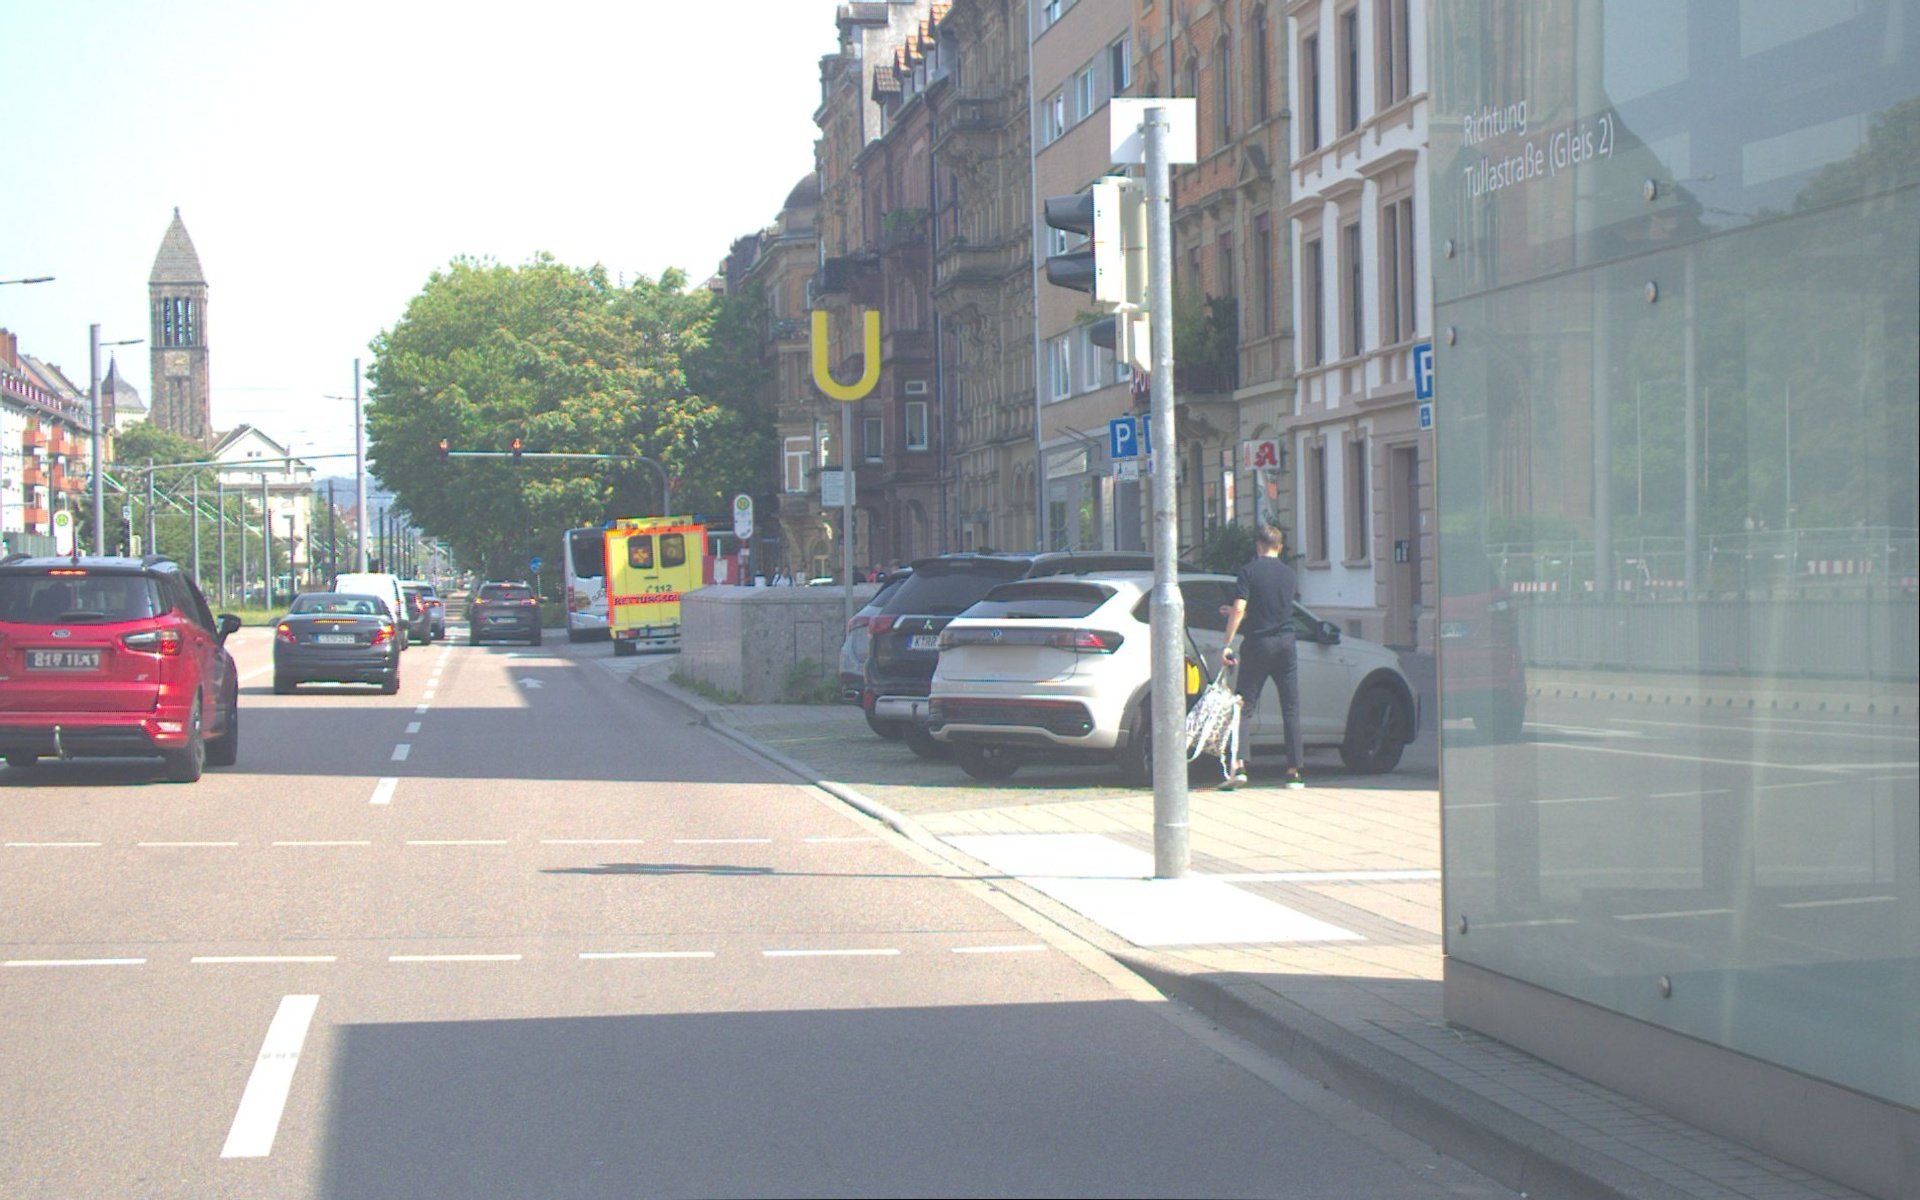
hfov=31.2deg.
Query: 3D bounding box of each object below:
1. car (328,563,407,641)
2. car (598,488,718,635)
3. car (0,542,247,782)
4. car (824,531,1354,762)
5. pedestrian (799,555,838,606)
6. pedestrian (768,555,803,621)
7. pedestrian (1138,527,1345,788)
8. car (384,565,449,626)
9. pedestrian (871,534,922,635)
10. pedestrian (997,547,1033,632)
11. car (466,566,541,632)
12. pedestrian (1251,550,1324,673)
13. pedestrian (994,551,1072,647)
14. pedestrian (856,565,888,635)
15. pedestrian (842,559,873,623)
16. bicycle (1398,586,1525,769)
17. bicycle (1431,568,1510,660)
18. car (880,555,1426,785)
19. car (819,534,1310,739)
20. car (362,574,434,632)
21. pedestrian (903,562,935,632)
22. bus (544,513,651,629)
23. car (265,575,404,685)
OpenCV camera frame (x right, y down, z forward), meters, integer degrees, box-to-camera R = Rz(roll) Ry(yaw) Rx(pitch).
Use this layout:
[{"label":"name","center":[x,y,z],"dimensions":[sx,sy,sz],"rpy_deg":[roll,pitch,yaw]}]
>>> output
[{"label":"car","center":[-14.037,0.050,81.542],"dimensions":[1.789,1.774,4.001],"rpy_deg":[-1,0,-9]},{"label":"car","center":[-6.306,-0.821,72.257],"dimensions":[2.298,2.878,5.600],"rpy_deg":[-2,1,-4]},{"label":"car","center":[-6.395,0.402,25.498],"dimensions":[1.762,1.612,4.083],"rpy_deg":[-1,1,-6]},{"label":"car","center":[1.124,0.315,27.904],"dimensions":[1.985,1.681,4.382],"rpy_deg":[0,1,41]},{"label":"pedestrian","center":[-5.107,-0.717,123.960],"dimensions":[1.249,1.746,1.526],"rpy_deg":[-1,3,-7]},{"label":"pedestrian","center":[-4.373,-0.299,86.194],"dimensions":[0.697,1.661,0.602],"rpy_deg":[0,0,18]},{"label":"pedestrian","center":[1.884,0.371,23.052],"dimensions":[1.035,1.698,0.904],"rpy_deg":[0,0,-34]},{"label":"car","center":[-15.579,-0.114,98.442],"dimensions":[1.789,1.692,4.001],"rpy_deg":[-1,0,-9]},{"label":"pedestrian","center":[-1.121,-0.279,60.593],"dimensions":[0.850,1.723,0.971],"rpy_deg":[-2,3,-1]},{"label":"pedestrian","center":[1.154,-0.223,72.100],"dimensions":[0.577,1.744,0.679],"rpy_deg":[-3,1,-8]},{"label":"car","center":[-11.910,-0.015,89.547],"dimensions":[1.789,1.672,4.001],"rpy_deg":[-1,0,-9]},{"label":"pedestrian","center":[5.052,0.170,53.035],"dimensions":[0.841,1.840,0.686],"rpy_deg":[-3,1,-17]},{"label":"pedestrian","center":[1.218,-0.016,57.406],"dimensions":[0.850,1.576,0.970],"rpy_deg":[-1,0,-41]},{"label":"pedestrian","center":[-2.077,-0.003,81.385],"dimensions":[0.696,1.661,0.603],"rpy_deg":[-1,0,-6]},{"label":"pedestrian","center":[-2.667,-0.240,89.326],"dimensions":[0.696,1.661,1.065],"rpy_deg":[-1,0,-6]},{"label":"bicycle","center":[3.694,0.561,25.433],"dimensions":[0.473,1.292,1.792],"rpy_deg":[-2,0,-6]},{"label":"bicycle","center":[7.017,0.172,47.346],"dimensions":[0.480,1.142,2.472],"rpy_deg":[-1,3,-6]},{"label":"car","center":[1.443,0.469,24.834],"dimensions":[3.775,1.495,1.806],"rpy_deg":[1,1,-44]},{"label":"car","center":[1.044,0.286,31.748],"dimensions":[2.042,1.708,4.655],"rpy_deg":[0,1,40]},{"label":"car","center":[-14.644,0.084,89.580],"dimensions":[1.789,1.467,4.001],"rpy_deg":[-1,0,-9]},{"label":"pedestrian","center":[-0.993,-0.071,83.419],"dimensions":[0.643,1.679,0.789],"rpy_deg":[-1,0,-8]},{"label":"bus","center":[-10.331,-0.818,97.061],"dimensions":[2.533,3.021,12.438],"rpy_deg":[-1,1,-8]},{"label":"car","center":[-8.714,0.387,48.128],"dimensions":[1.789,1.426,4.001],"rpy_deg":[-1,1,-9]}]
